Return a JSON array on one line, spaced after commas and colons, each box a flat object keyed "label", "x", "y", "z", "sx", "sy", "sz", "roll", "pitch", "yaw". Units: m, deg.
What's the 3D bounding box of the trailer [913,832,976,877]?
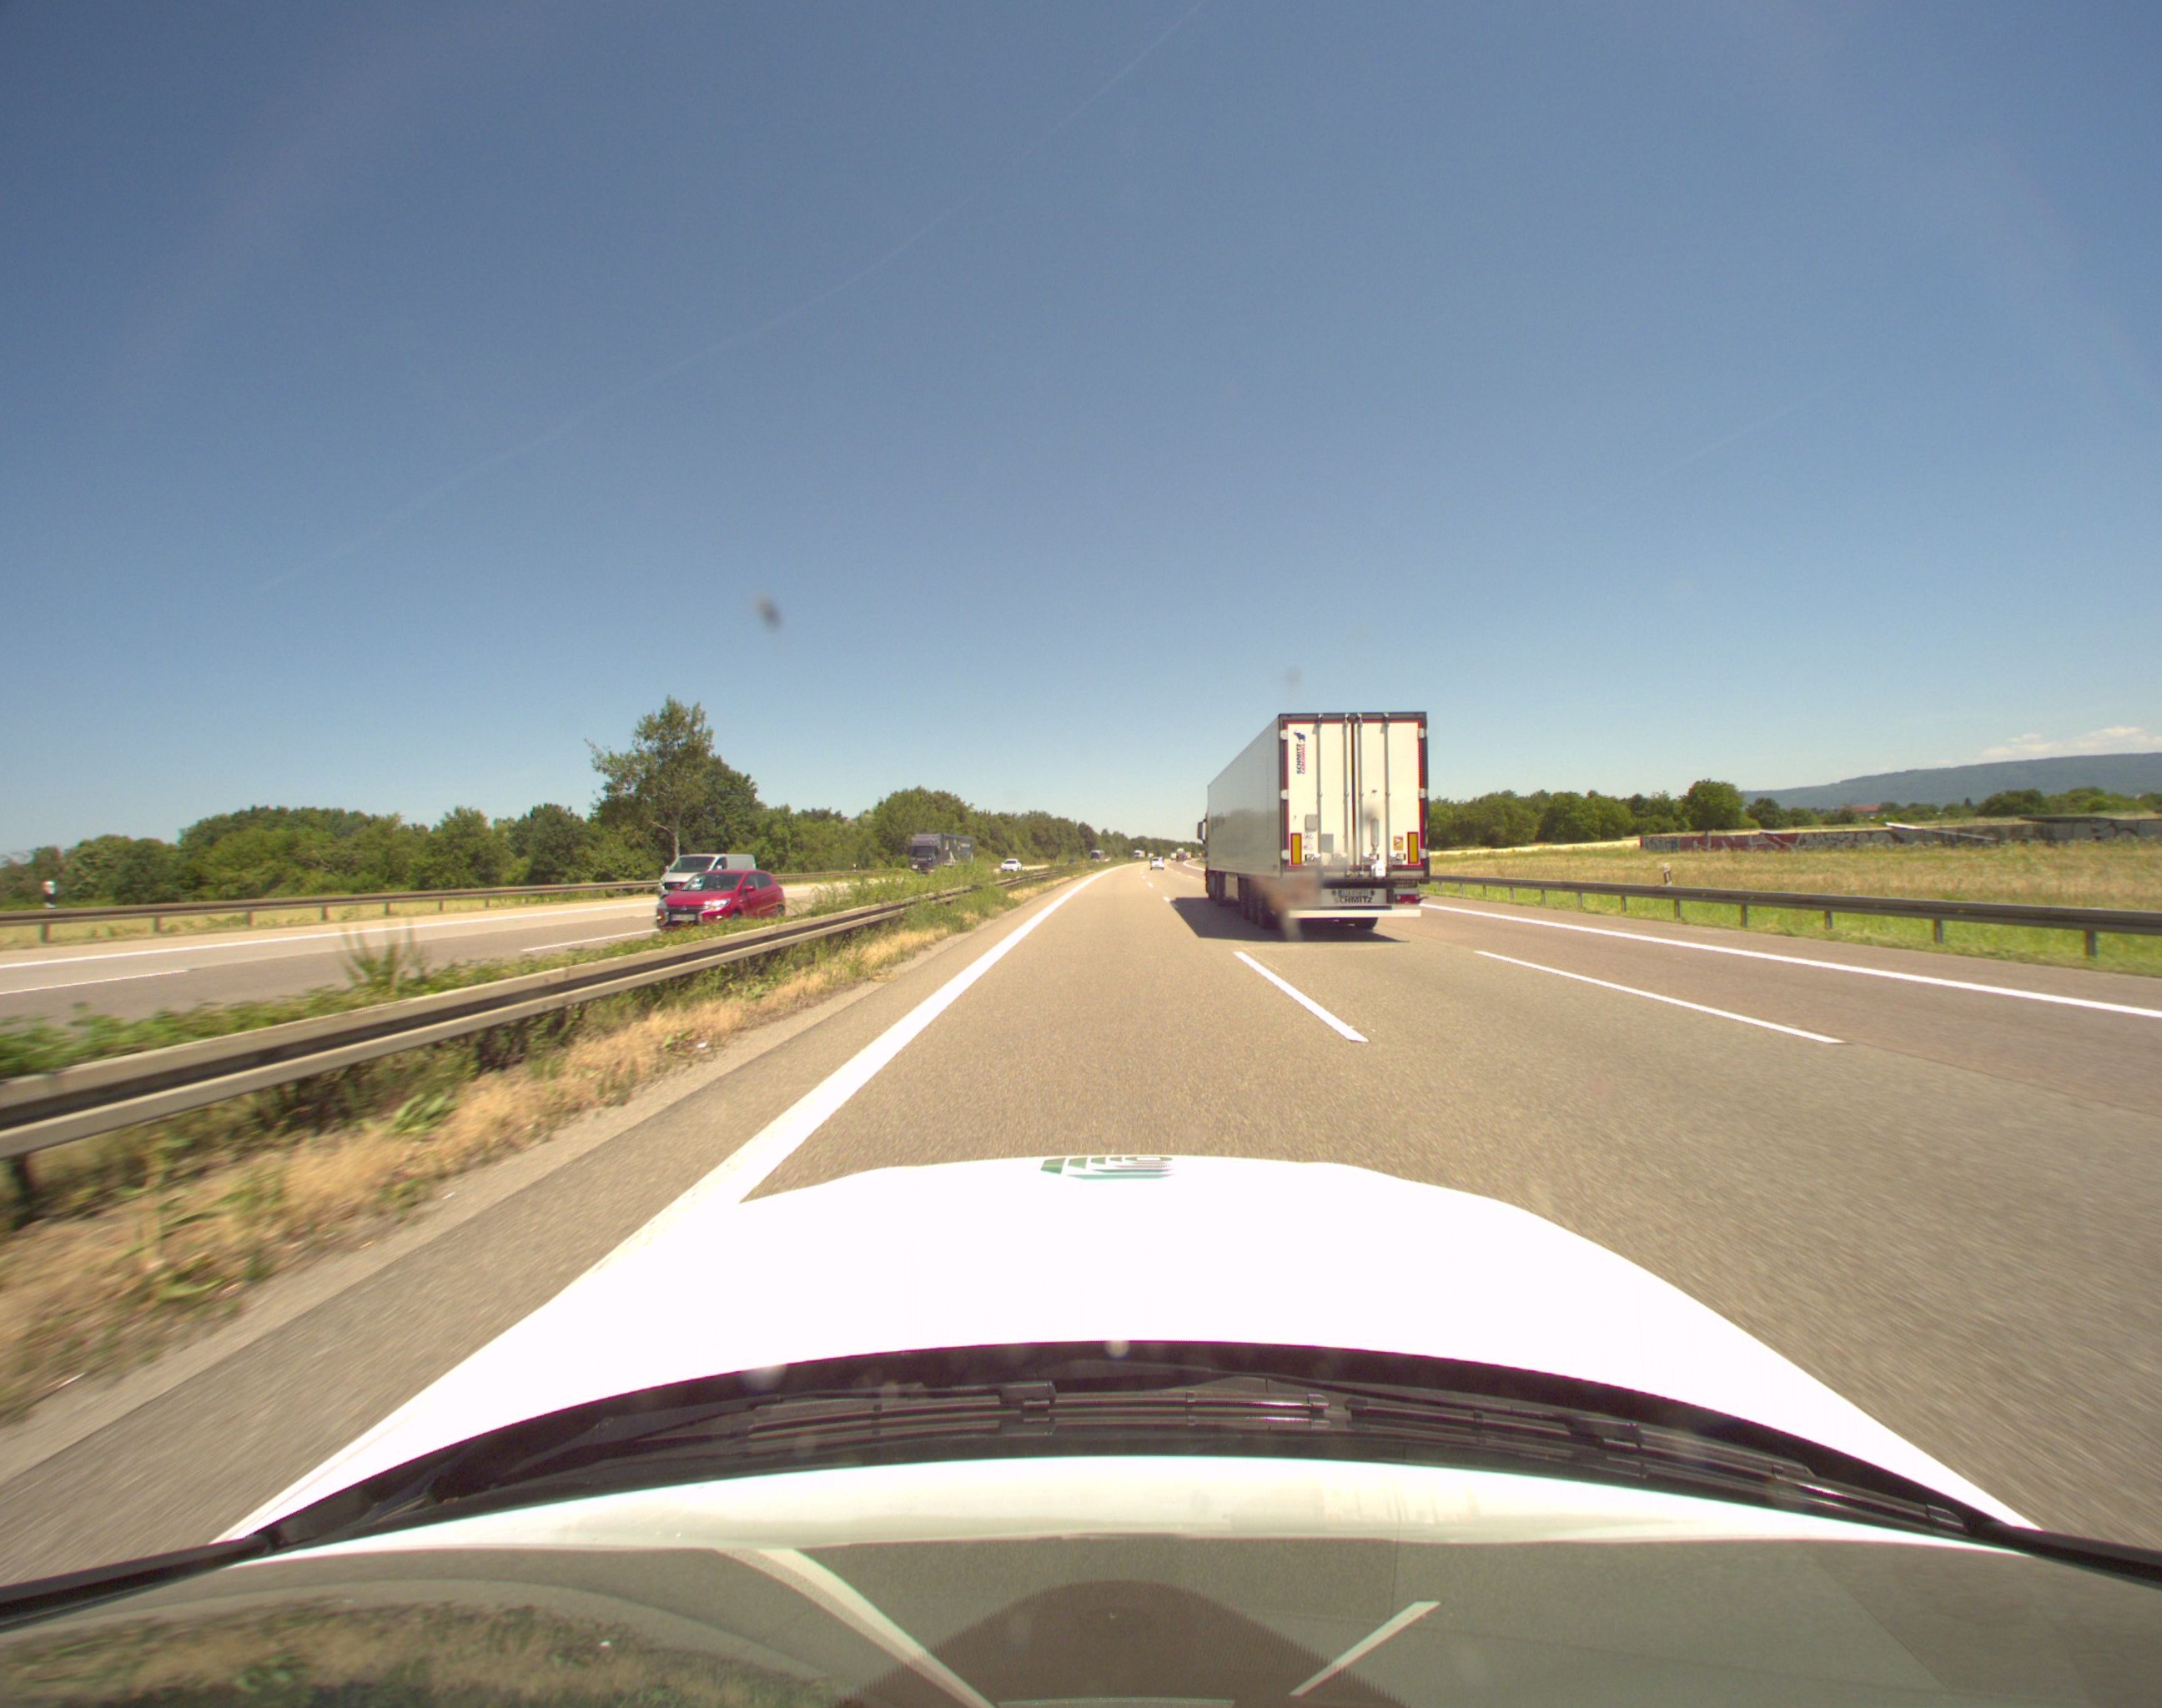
[{"label": "trailer", "x": -12.944, "y": 0.075, "z": 78.969, "sx": 2.868, "sy": 3.948, "sz": 14.069, "roll": -1, "pitch": 0, "yaw": 3}]

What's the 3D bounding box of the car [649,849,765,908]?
[{"label": "car", "x": -14.739, "y": 0.921, "z": 32.497, "sx": 2.051, "sy": 2.071, "sz": 5.408, "roll": -2, "pitch": 0, "yaw": 0}]

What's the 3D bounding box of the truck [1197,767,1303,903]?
[{"label": "truck", "x": 5.686, "y": -0.591, "z": 28.287, "sx": 2.895, "sy": 4.256, "sz": 4.979, "roll": -1, "pitch": 0, "yaw": 3}]

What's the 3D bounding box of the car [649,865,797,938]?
[{"label": "car", "x": -8.451, "y": 1.044, "z": 19.641, "sx": 1.688, "sy": 1.492, "sz": 4.137, "roll": -2, "pitch": 0, "yaw": 0}]

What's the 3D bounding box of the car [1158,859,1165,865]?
[{"label": "car", "x": 20.440, "y": 2.117, "z": 206.921, "sx": 1.620, "sy": 1.479, "sz": 4.005, "roll": -1, "pitch": -1, "yaw": 5}]

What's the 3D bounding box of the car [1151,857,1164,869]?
[{"label": "car", "x": 9.713, "y": 1.109, "z": 103.464, "sx": 1.619, "sy": 1.479, "sz": 4.007, "roll": -1, "pitch": -1, "yaw": 6}]

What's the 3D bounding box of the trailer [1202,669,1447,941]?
[{"label": "trailer", "x": 5.245, "y": -0.813, "z": 21.079, "sx": 2.888, "sy": 4.657, "sz": 13.998, "roll": -1, "pitch": 0, "yaw": 3}]

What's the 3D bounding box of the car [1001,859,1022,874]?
[{"label": "car", "x": -7.737, "y": 1.356, "z": 91.117, "sx": 1.835, "sy": 1.586, "sz": 4.489, "roll": -1, "pitch": 0, "yaw": 2}]

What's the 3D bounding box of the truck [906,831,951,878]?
[{"label": "truck", "x": -13.388, "y": 0.061, "z": 71.776, "sx": 2.881, "sy": 3.916, "sz": 4.003, "roll": -1, "pitch": -1, "yaw": 3}]

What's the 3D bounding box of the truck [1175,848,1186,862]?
[{"label": "truck", "x": 30.391, "y": 0.363, "z": 247.438, "sx": 2.723, "sy": 4.052, "sz": 10.482, "roll": -1, "pitch": -1, "yaw": 10}]

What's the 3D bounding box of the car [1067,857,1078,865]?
[{"label": "car", "x": -1.675, "y": 1.452, "z": 164.119, "sx": 1.774, "sy": 1.517, "sz": 4.505, "roll": -1, "pitch": 0, "yaw": 3}]

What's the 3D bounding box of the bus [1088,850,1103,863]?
[{"label": "bus", "x": 4.436, "y": 0.737, "z": 242.387, "sx": 2.725, "sy": 3.708, "sz": 13.032, "roll": 0, "pitch": 0, "yaw": 9}]
